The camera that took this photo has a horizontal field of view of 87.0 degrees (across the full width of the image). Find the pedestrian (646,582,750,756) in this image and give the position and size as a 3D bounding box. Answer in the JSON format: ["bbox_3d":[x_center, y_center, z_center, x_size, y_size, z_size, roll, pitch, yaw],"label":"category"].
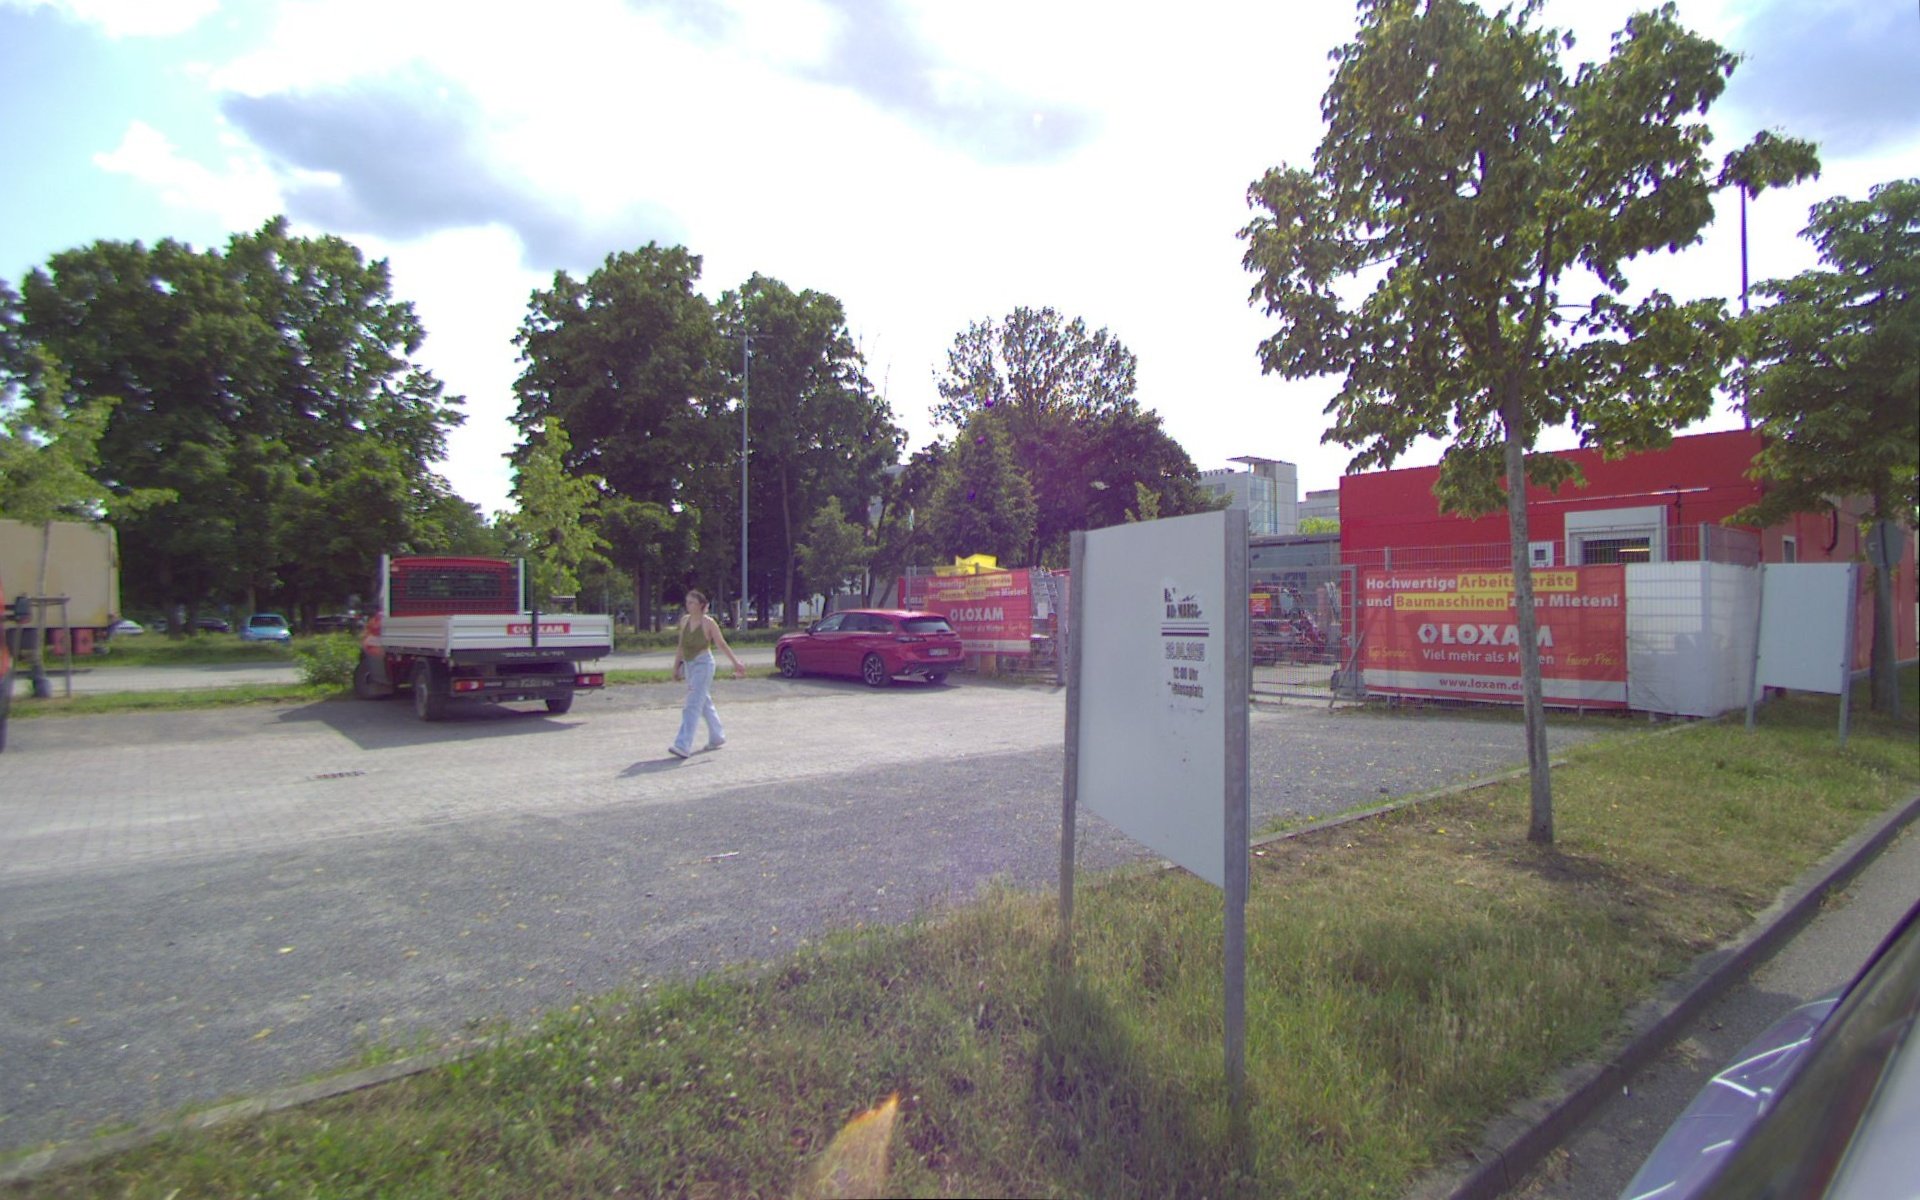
[{"bbox_3d":[-2.704,0.672,10.441,0.863,1.713,0.600,0,0,-38],"label":"pedestrian"}]

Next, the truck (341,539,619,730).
[{"bbox_3d":[-7.305,0.420,14.998,2.136,2.284,5.851,1,-1,-42],"label":"truck"}]

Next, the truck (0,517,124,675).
[{"bbox_3d":[-24.796,-0.116,22.937,8.871,3.644,2.728,1,-1,-38],"label":"truck"}]

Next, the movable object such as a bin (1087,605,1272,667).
[{"bbox_3d":[5.636,0.857,26.225,3.026,1.396,3.586,-1,1,-36],"label":"movable object such as a bin"}]

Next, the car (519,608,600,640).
[{"bbox_3d":[-19.412,1.151,49.093,3.298,1.297,1.695,-4,2,-36],"label":"car"}]

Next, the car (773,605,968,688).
[{"bbox_3d":[-1.856,0.828,20.038,1.592,1.432,4.134,0,0,-45],"label":"car"}]

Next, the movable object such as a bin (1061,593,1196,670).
[{"bbox_3d":[3.938,0.718,23.947,1.364,1.691,3.009,1,-1,-40],"label":"movable object such as a bin"}]

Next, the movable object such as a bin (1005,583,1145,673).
[{"bbox_3d":[2.520,0.602,22.560,1.364,1.867,3.009,1,-1,-40],"label":"movable object such as a bin"}]

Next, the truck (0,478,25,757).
[{"bbox_3d":[-11.307,0.148,10.610,2.080,2.547,5.434,1,-1,-42],"label":"truck"}]
